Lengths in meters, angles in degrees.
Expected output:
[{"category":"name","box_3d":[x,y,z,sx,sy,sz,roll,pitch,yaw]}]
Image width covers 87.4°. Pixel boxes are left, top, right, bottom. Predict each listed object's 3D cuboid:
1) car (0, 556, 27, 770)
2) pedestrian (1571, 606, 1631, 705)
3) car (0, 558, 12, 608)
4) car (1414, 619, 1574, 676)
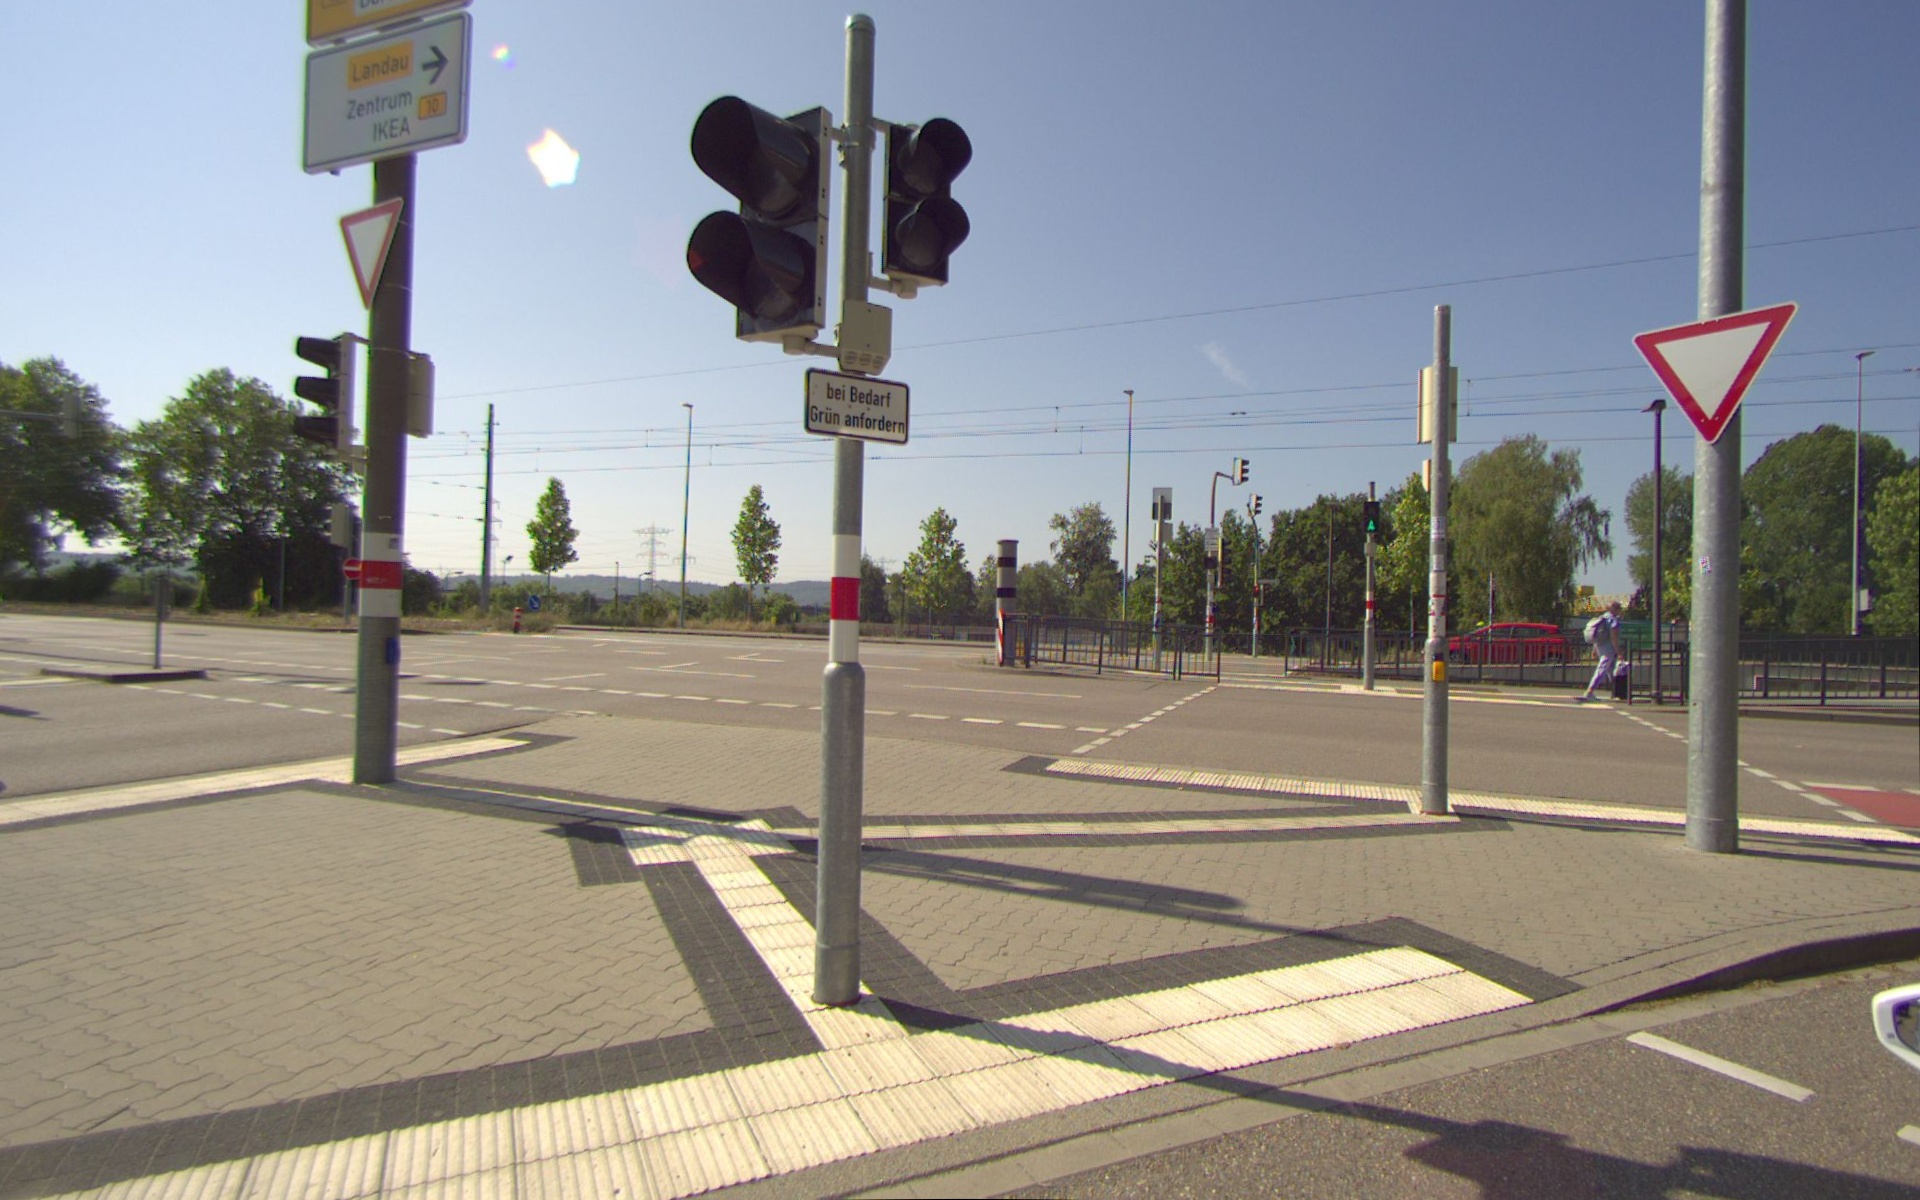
[{"category":"car","box_3d":[-8.115,0.366,5.268,1.713,1.467,4.388,2,0,21]},{"category":"pedestrian","box_3d":[10.350,0.866,16.218,0.762,1.531,1.004,1,1,33]},{"category":"car","box_3d":[-31.424,-0.600,31.202,3.287,1.519,1.410,2,-2,19]},{"category":"car","box_3d":[15.659,1.372,29.682,3.921,1.464,1.746,1,0,20]}]
